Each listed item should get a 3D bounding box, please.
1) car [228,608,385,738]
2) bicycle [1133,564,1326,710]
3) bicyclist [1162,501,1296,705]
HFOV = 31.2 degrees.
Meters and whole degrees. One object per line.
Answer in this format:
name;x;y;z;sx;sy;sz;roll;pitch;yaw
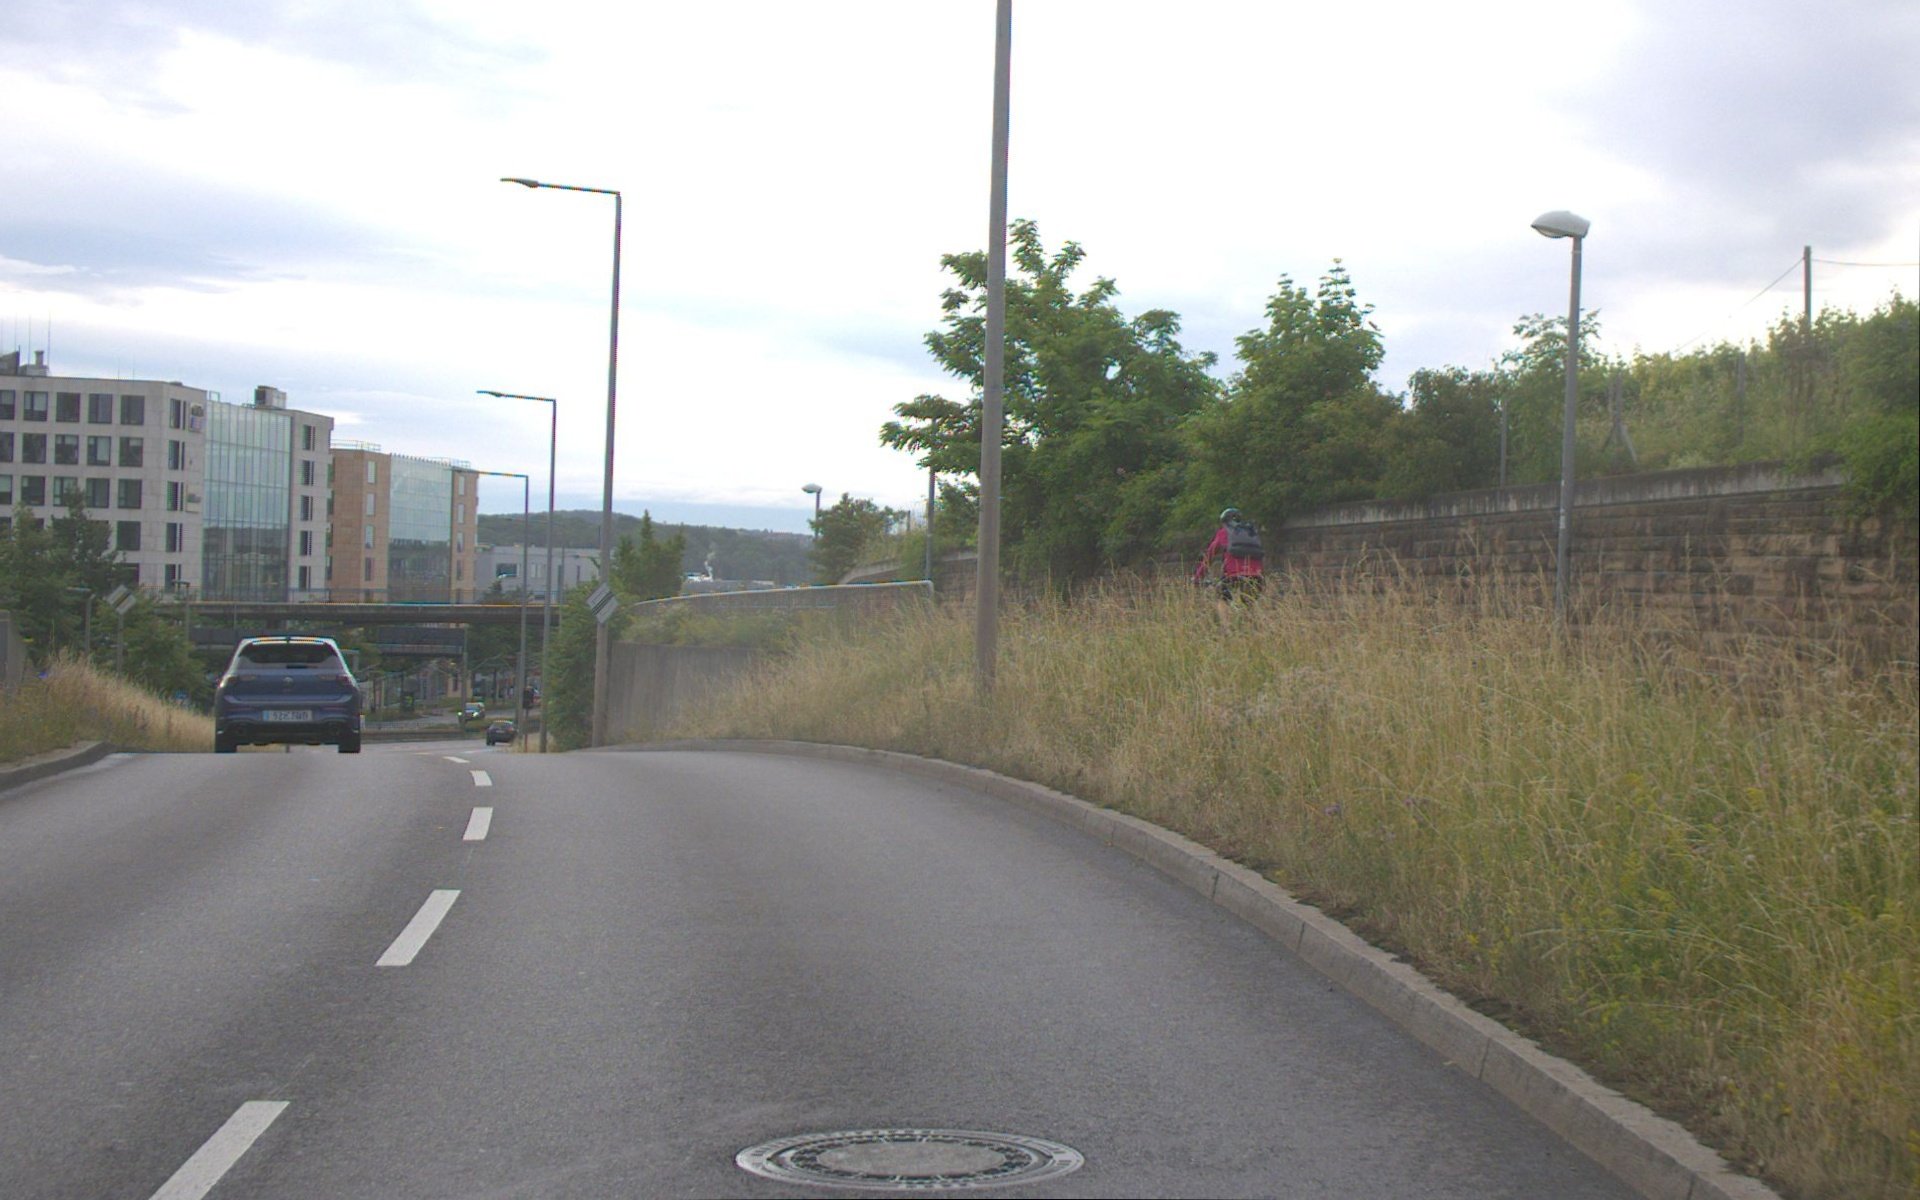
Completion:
car;-8.076;0.873;42.705;1.748;1.415;3.479;2;1;-9
bicycle;2.598;0.329;33.707;0.869;1.284;3.488;4;0;-12
bicyclist;2.619;0.026;33.621;0.869;1.902;1.294;4;-1;-12
